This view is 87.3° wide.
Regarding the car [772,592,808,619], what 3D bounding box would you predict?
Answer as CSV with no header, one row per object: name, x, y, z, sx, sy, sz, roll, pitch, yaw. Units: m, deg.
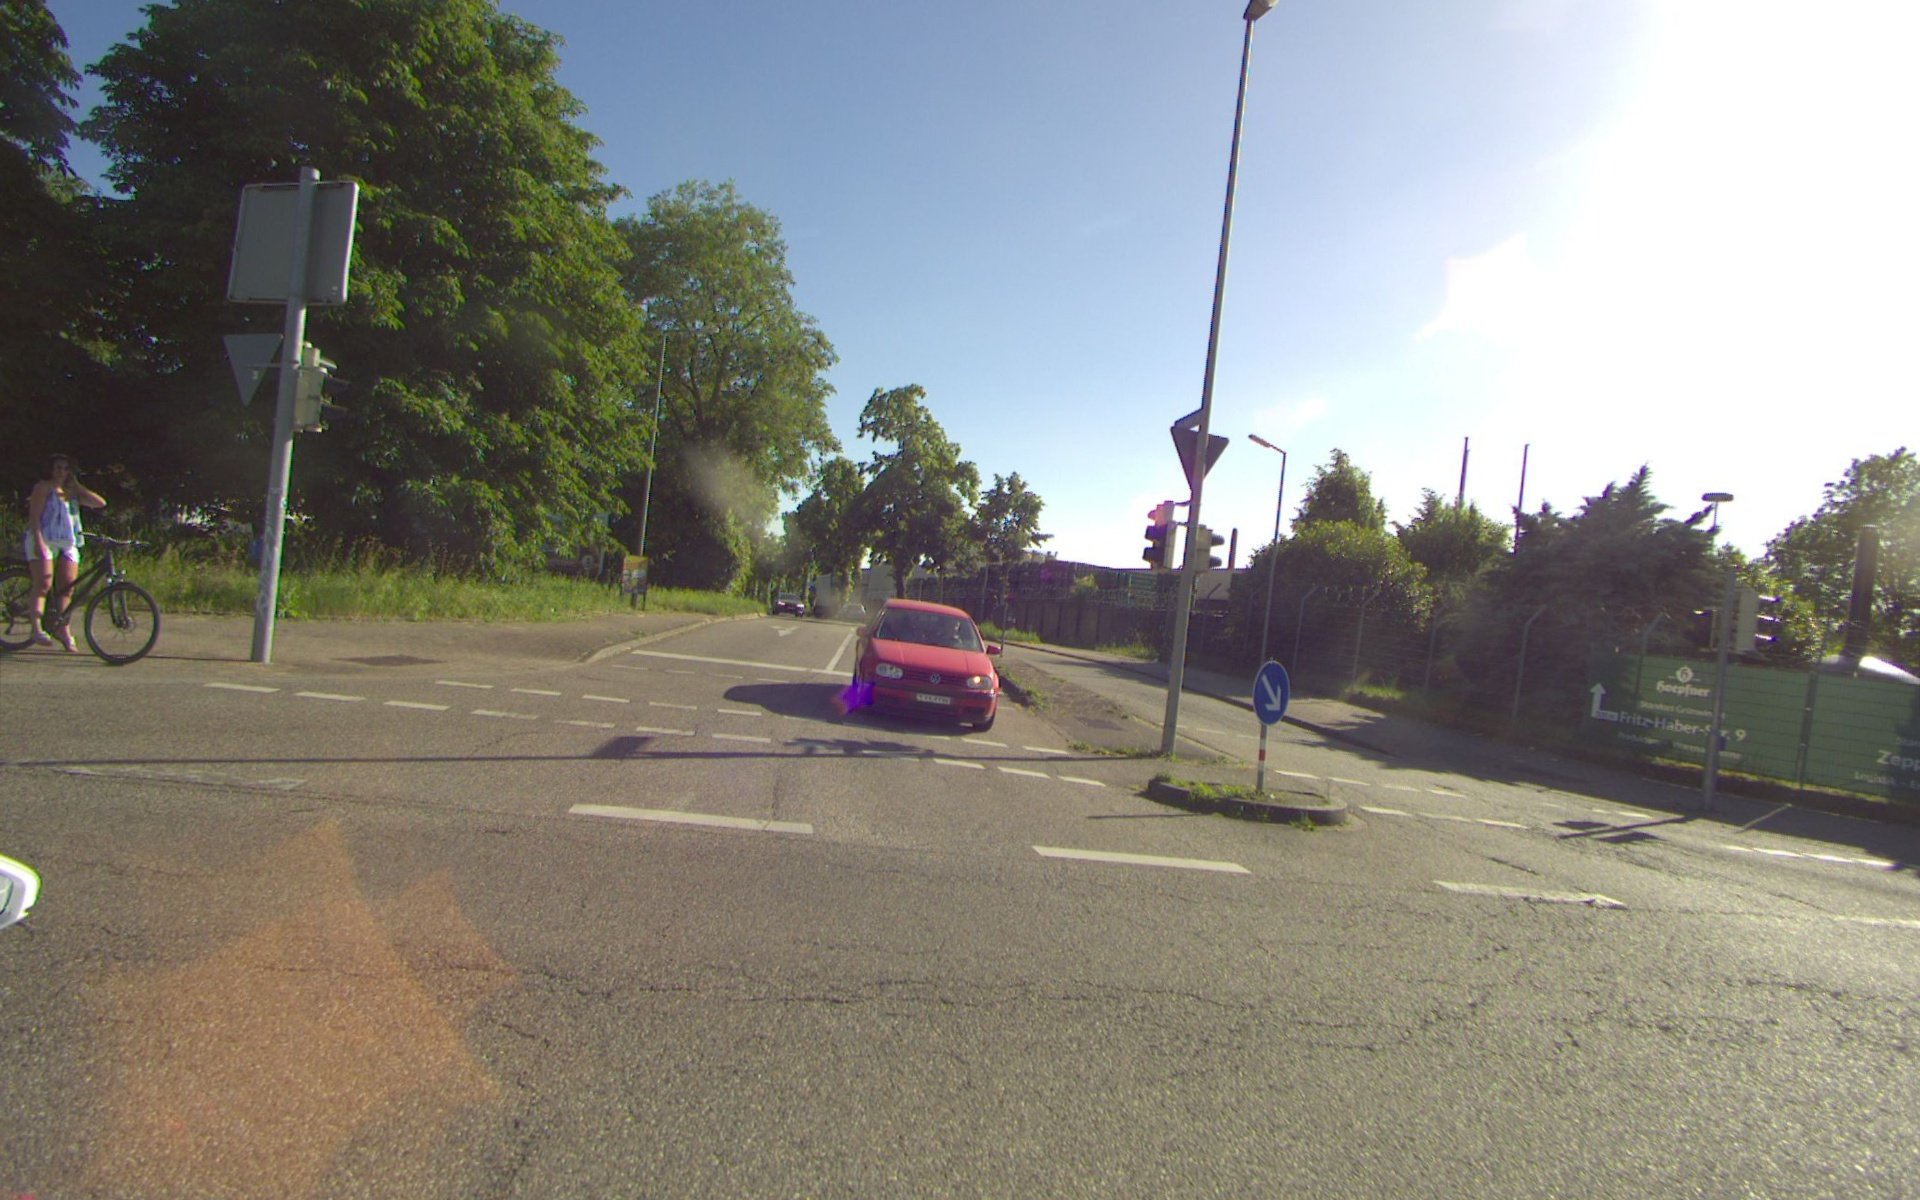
car,-11.117,0.330,65.605,1.834,1.487,4.128,6,-1,-14

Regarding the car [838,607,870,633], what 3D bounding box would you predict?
car,-7.977,1.484,75.381,1.669,1.651,3.120,6,-1,-17

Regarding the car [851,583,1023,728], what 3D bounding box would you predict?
car,-0.400,0.607,13.600,1.830,1.488,4.134,6,1,-4

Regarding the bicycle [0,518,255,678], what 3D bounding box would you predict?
bicycle,-8.013,-0.074,8.994,2.896,1.139,0.904,7,-1,9

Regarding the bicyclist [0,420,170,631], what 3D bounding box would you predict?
bicyclist,-8.105,-0.654,9.020,1.167,1.713,0.893,7,-1,9
